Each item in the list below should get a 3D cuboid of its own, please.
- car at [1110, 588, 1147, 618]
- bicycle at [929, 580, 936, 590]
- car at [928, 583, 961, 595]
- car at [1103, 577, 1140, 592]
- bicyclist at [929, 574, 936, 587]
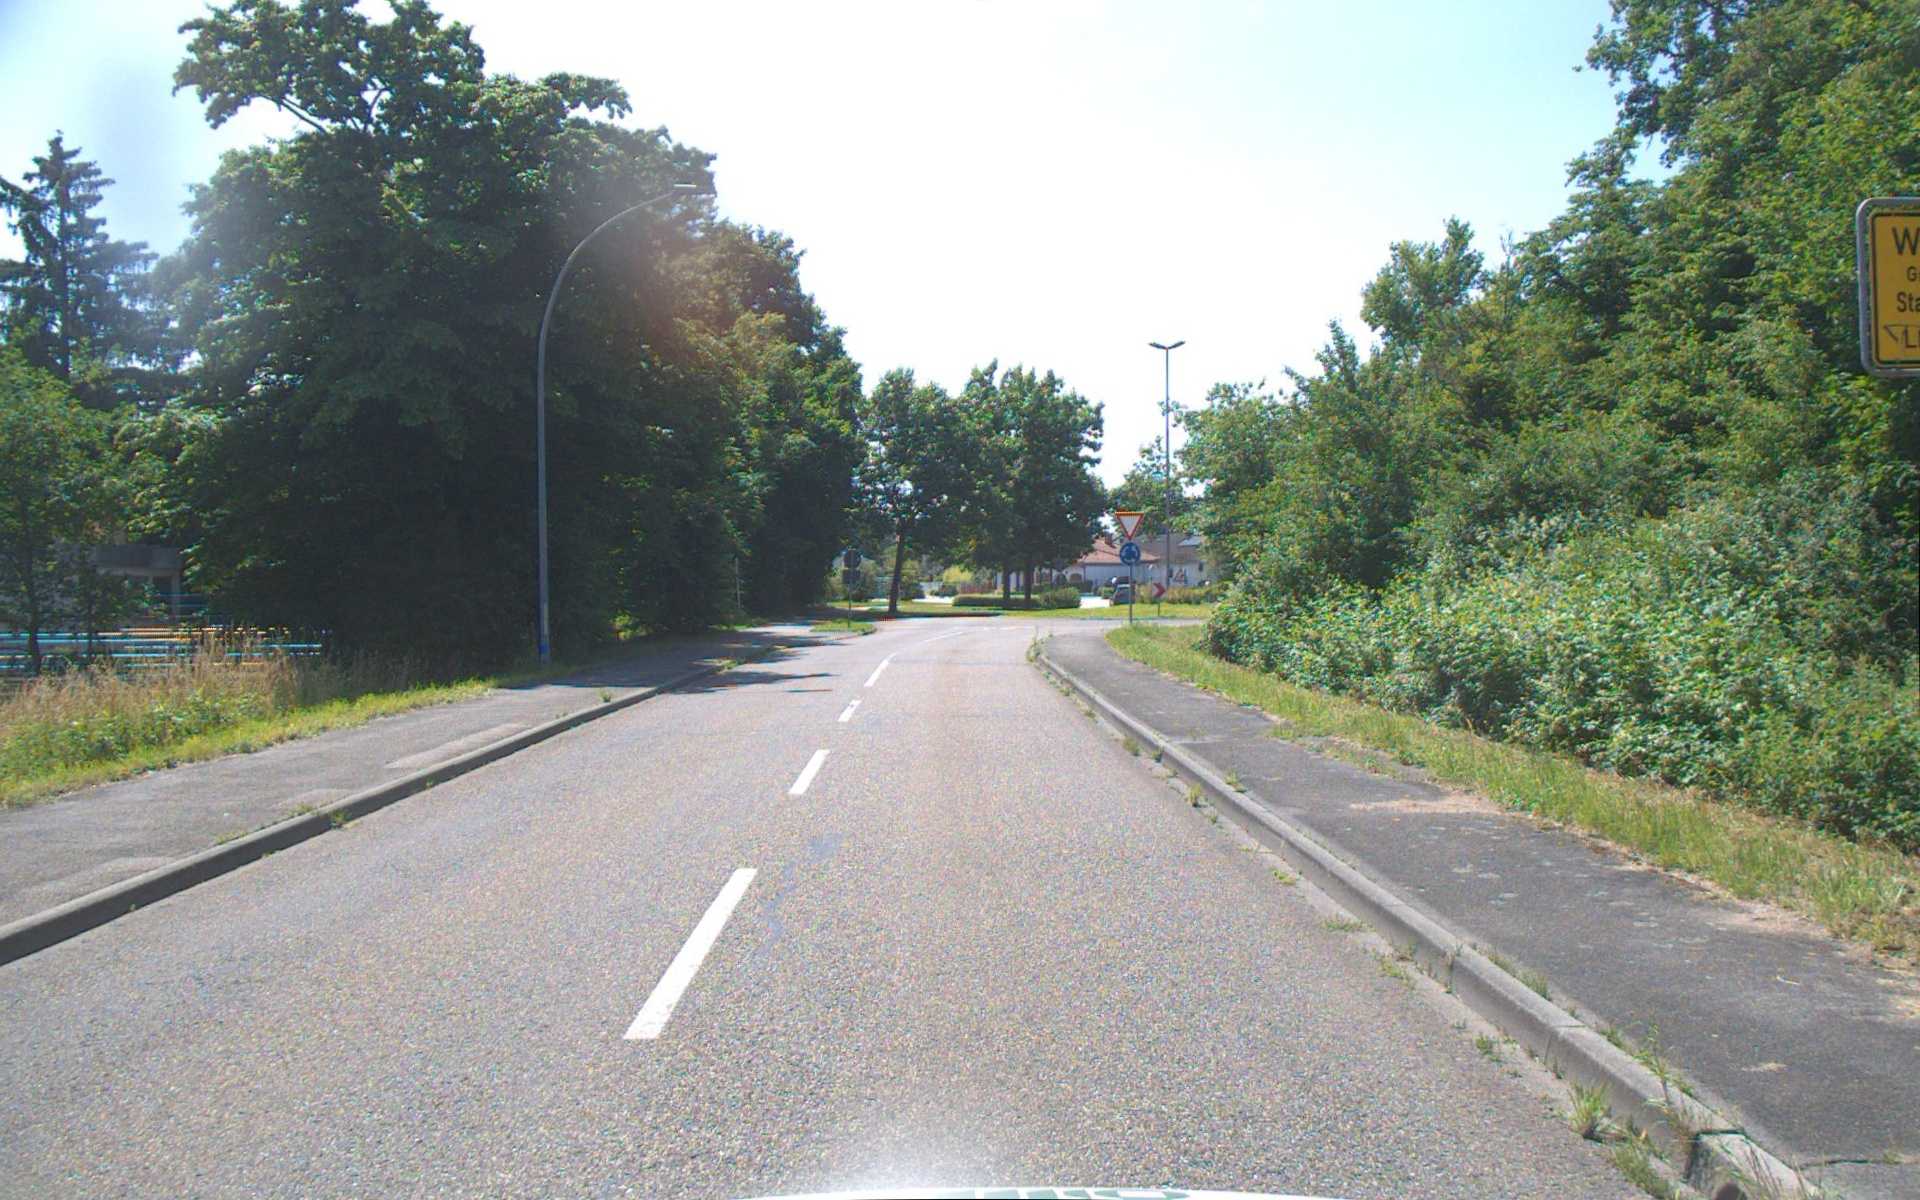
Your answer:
[{"bbox_3d":[9.133,0.141,89.911,1.595,1.512,4.000,-1,1,0],"label":"car"},{"bbox_3d":[-2.535,-1.368,152.988,0.585,0.945,1.620,-1,0,-2],"label":"bicycle"},{"bbox_3d":[-1.749,-1.160,180.209,1.972,1.310,3.961,-1,0,-29],"label":"car"},{"bbox_3d":[16.830,-1.650,172.762,3.806,1.569,1.825,-1,0,-43],"label":"car"},{"bbox_3d":[-2.541,-1.843,152.885,0.585,1.185,0.648,-1,0,-2],"label":"bicyclist"}]
